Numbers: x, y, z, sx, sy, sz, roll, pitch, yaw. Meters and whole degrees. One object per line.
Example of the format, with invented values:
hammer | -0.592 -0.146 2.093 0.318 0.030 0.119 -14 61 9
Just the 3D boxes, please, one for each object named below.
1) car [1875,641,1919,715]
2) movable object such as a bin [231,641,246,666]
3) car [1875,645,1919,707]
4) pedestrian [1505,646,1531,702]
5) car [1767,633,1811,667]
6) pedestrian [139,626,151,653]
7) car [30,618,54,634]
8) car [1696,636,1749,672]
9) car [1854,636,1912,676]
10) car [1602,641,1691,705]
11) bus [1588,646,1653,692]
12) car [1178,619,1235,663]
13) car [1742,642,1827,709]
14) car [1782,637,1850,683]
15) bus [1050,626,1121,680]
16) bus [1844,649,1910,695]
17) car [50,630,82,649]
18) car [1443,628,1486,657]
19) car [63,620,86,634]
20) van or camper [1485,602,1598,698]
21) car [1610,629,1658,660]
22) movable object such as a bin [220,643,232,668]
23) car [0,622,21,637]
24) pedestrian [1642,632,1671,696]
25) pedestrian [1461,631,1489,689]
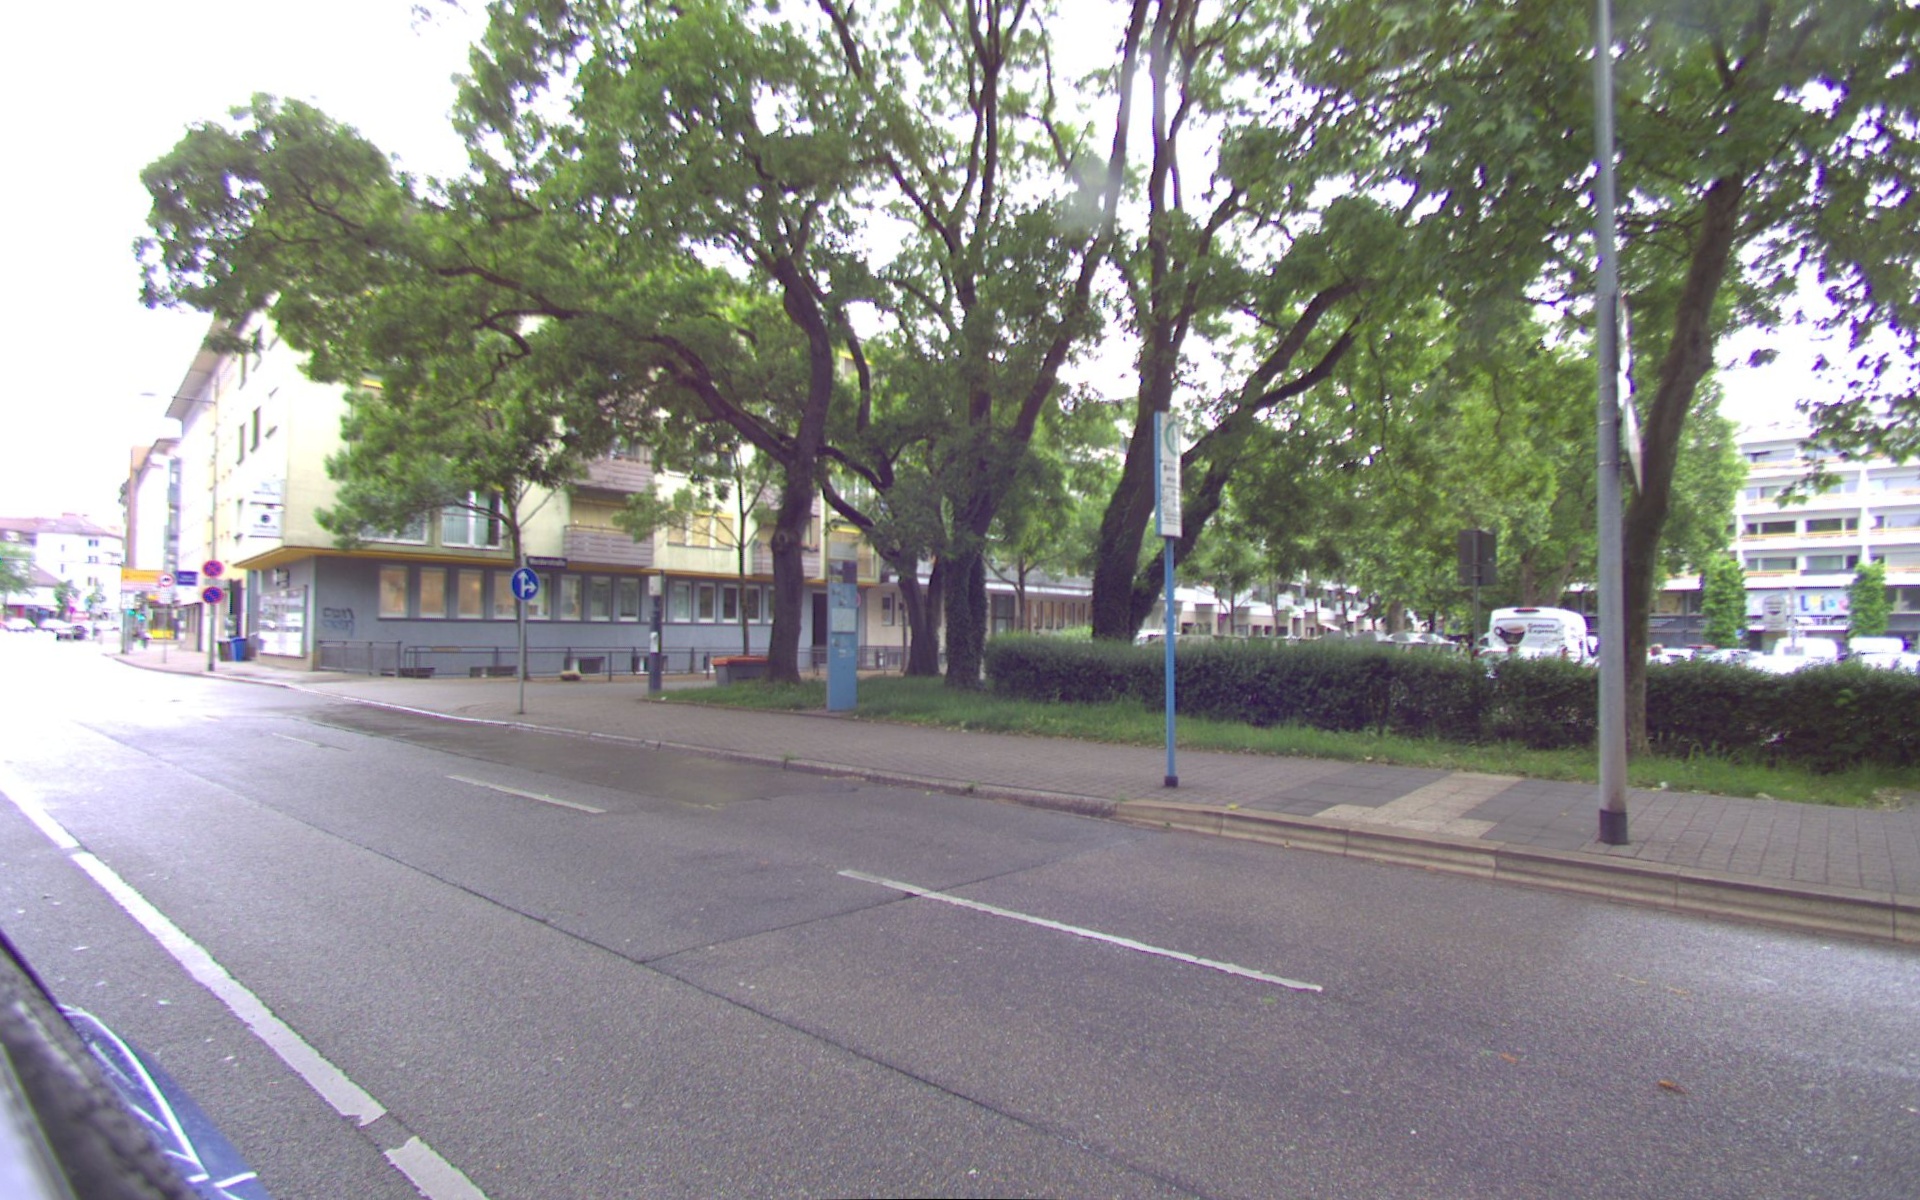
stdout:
car | 19.931 1.605 20.950 1.391 1.446 3.227 -2 -4 41
movable object such as a bin | -29.892 2.217 41.918 0.409 1.037 0.354 3 -4 -42
car | 23.418 1.849 24.812 1.391 1.446 3.227 -2 -4 41
pedestrian | 12.619 1.653 22.865 0.465 1.222 0.433 -1 0 34
car | 41.987 2.494 51.306 1.639 1.536 3.161 -1 0 38
pedestrian | -57.274 2.796 71.122 0.586 1.858 0.565 3 -4 -42
car | -113.799 3.203 125.411 4.002 1.866 1.971 -2 -4 45
car | 35.722 2.478 47.368 1.837 1.435 3.780 -1 0 39
car | 40.503 2.416 44.465 1.639 1.536 3.161 -1 0 38
car | 16.734 1.750 24.625 1.391 1.446 3.227 -2 -4 41
bus | 24.158 2.488 36.978 1.604 1.551 3.385 -1 -3 40
car | 11.777 1.974 48.190 1.988 2.029 3.967 0 -3 24
car | 19.239 1.725 23.571 1.391 1.446 3.227 -2 -4 41
car | 28.176 1.959 33.357 1.604 1.439 3.275 -1 -3 40
bus | 4.839 2.006 38.691 1.703 1.939 3.697 0 -3 24
bus | 33.159 2.569 36.662 1.604 1.551 3.385 -1 -3 40
car | -82.282 3.612 93.148 4.002 1.730 1.863 -2 -4 45
car | 27.249 2.284 54.665 1.428 1.439 2.926 -2 -1 40
car | -111.187 3.451 126.995 4.002 1.670 1.842 -2 -4 45
van or camper | 16.848 1.435 29.217 2.097 2.556 4.367 -1 -3 40
car | 32.467 2.151 48.735 1.604 1.439 3.275 -1 -3 40
movable object such as a bin | -30.203 2.278 41.640 0.333 1.037 0.354 3 -4 -42
car | -109.952 3.396 116.875 4.002 1.653 1.971 -2 -4 45
pedestrian | 13.821 1.256 20.089 0.465 1.222 0.433 -1 0 34
pedestrian | 11.110 1.291 21.831 0.484 1.222 0.433 -1 0 34
